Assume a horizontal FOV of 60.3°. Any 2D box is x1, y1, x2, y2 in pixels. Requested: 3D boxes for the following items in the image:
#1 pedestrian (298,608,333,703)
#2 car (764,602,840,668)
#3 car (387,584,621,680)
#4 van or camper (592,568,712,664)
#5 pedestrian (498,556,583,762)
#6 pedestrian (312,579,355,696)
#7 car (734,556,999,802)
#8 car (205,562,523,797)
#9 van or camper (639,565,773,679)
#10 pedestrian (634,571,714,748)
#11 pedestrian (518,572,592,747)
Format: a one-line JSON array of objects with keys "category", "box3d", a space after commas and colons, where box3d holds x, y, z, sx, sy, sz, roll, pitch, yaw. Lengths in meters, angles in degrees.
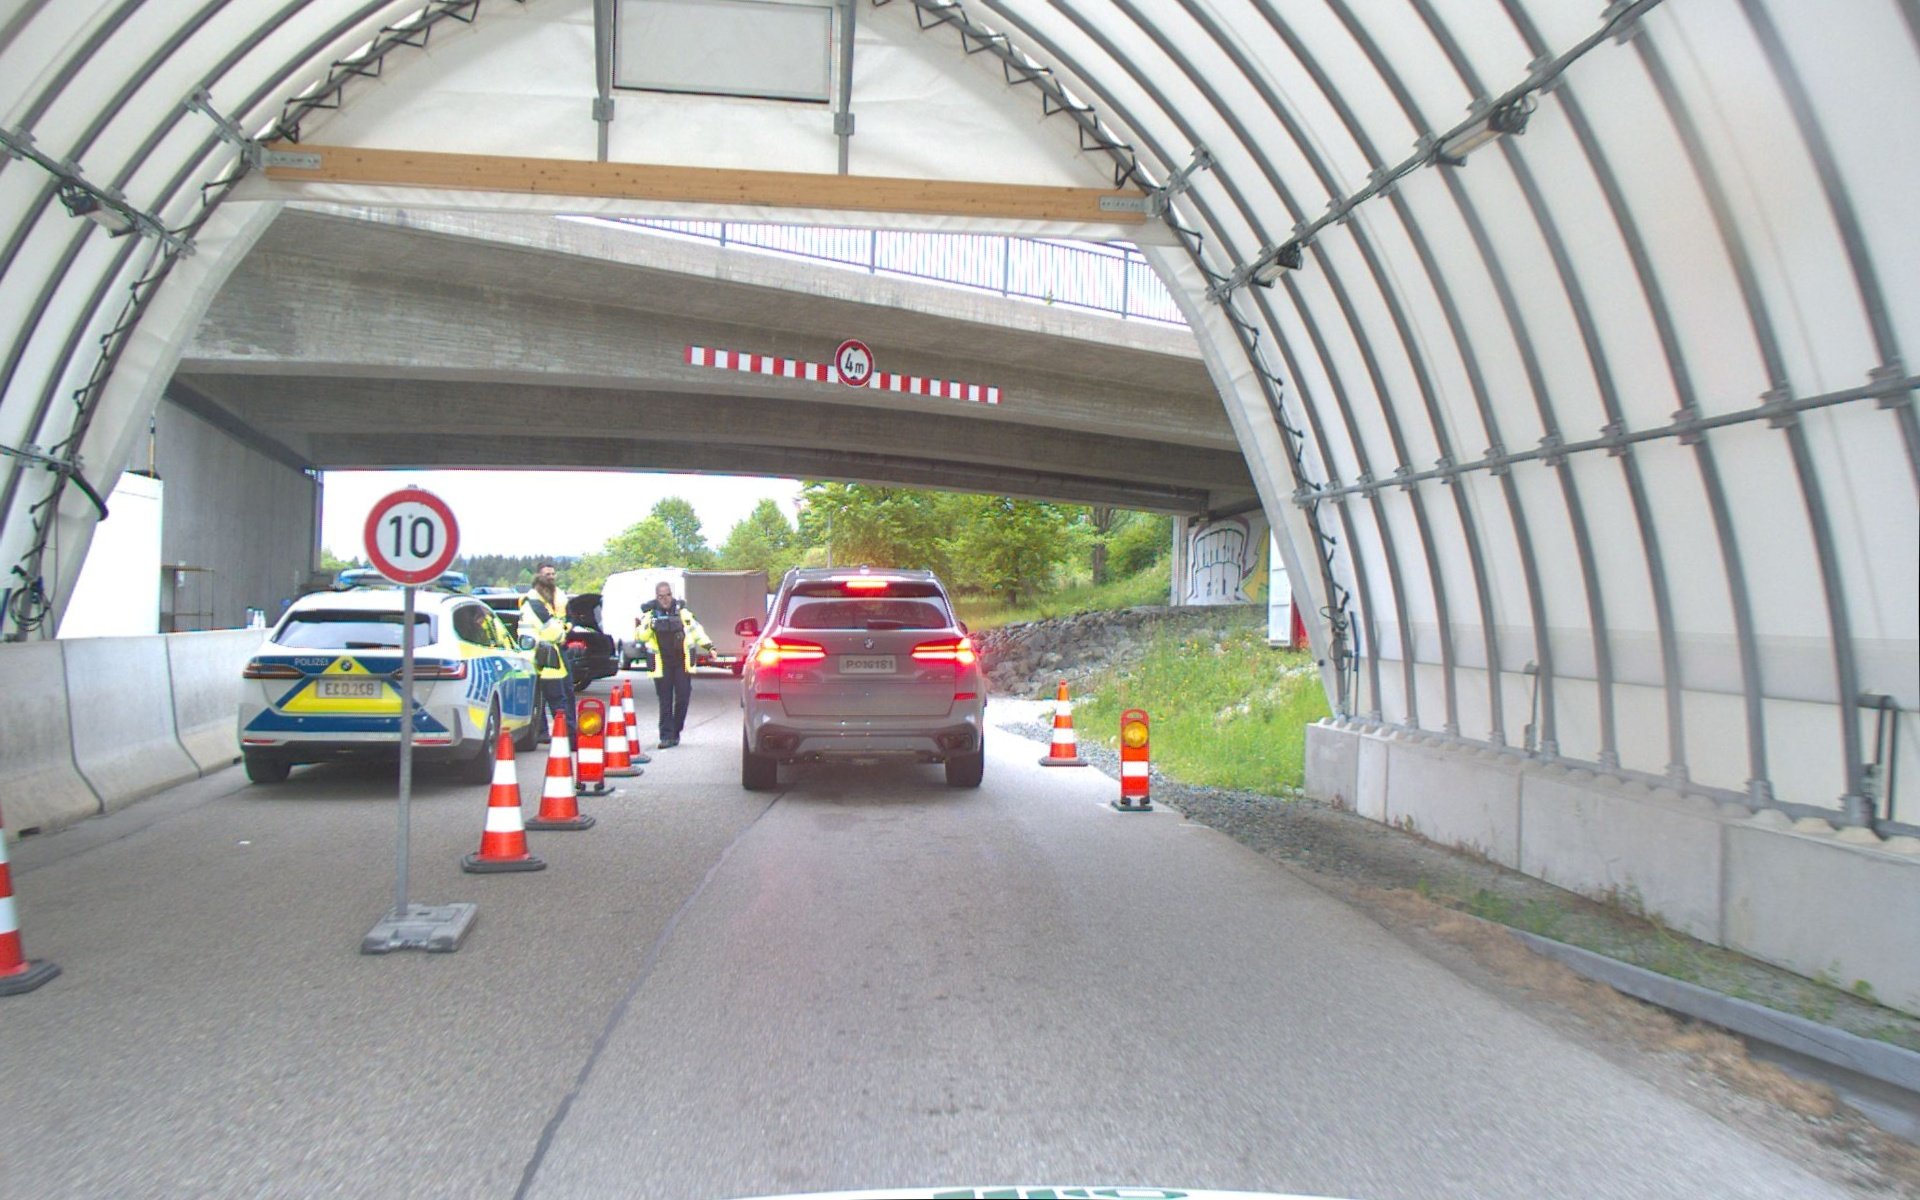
[{"category": "pedestrian", "box3d": [-10.787, 0.916, 27.678, 0.494, 1.573, 0.461, 0, 0, -16]}, {"category": "car", "box3d": [-4.479, 0.948, 46.451, 1.956, 1.752, 3.889, -1, 0, -8]}, {"category": "car", "box3d": [-10.153, 0.709, 36.927, 4.703, 2.049, 1.842, 0, 0, 12]}, {"category": "van or camper", "box3d": [-8.862, 0.435, 47.150, 2.077, 2.563, 5.507, 0, 0, -25]}, {"category": "pedestrian", "box3d": [-4.097, 0.559, 16.194, 0.735, 1.952, 0.761, -1, 0, -10]}, {"category": "pedestrian", "box3d": [-11.164, 0.658, 29.474, 0.613, 2.049, 0.654, 0, 0, -12]}, {"category": "car", "box3d": [-0.844, 0.588, 14.332, 1.954, 1.796, 3.996, -1, 0, -5]}, {"category": "car", "box3d": [-4.861, 0.576, 14.057, 1.843, 1.675, 3.991, -1, 0, -10]}, {"category": "van or camper", "box3d": [-6.472, 0.514, 41.395, 2.196, 2.597, 6.574, -1, 0, -19]}, {"category": "pedestrian", "box3d": [-2.898, 0.587, 16.829, 0.765, 1.752, 0.755, -1, 0, -9]}, {"category": "pedestrian", "box3d": [-4.218, 0.607, 17.252, 0.596, 1.784, 0.666, -1, 0, -1]}]
